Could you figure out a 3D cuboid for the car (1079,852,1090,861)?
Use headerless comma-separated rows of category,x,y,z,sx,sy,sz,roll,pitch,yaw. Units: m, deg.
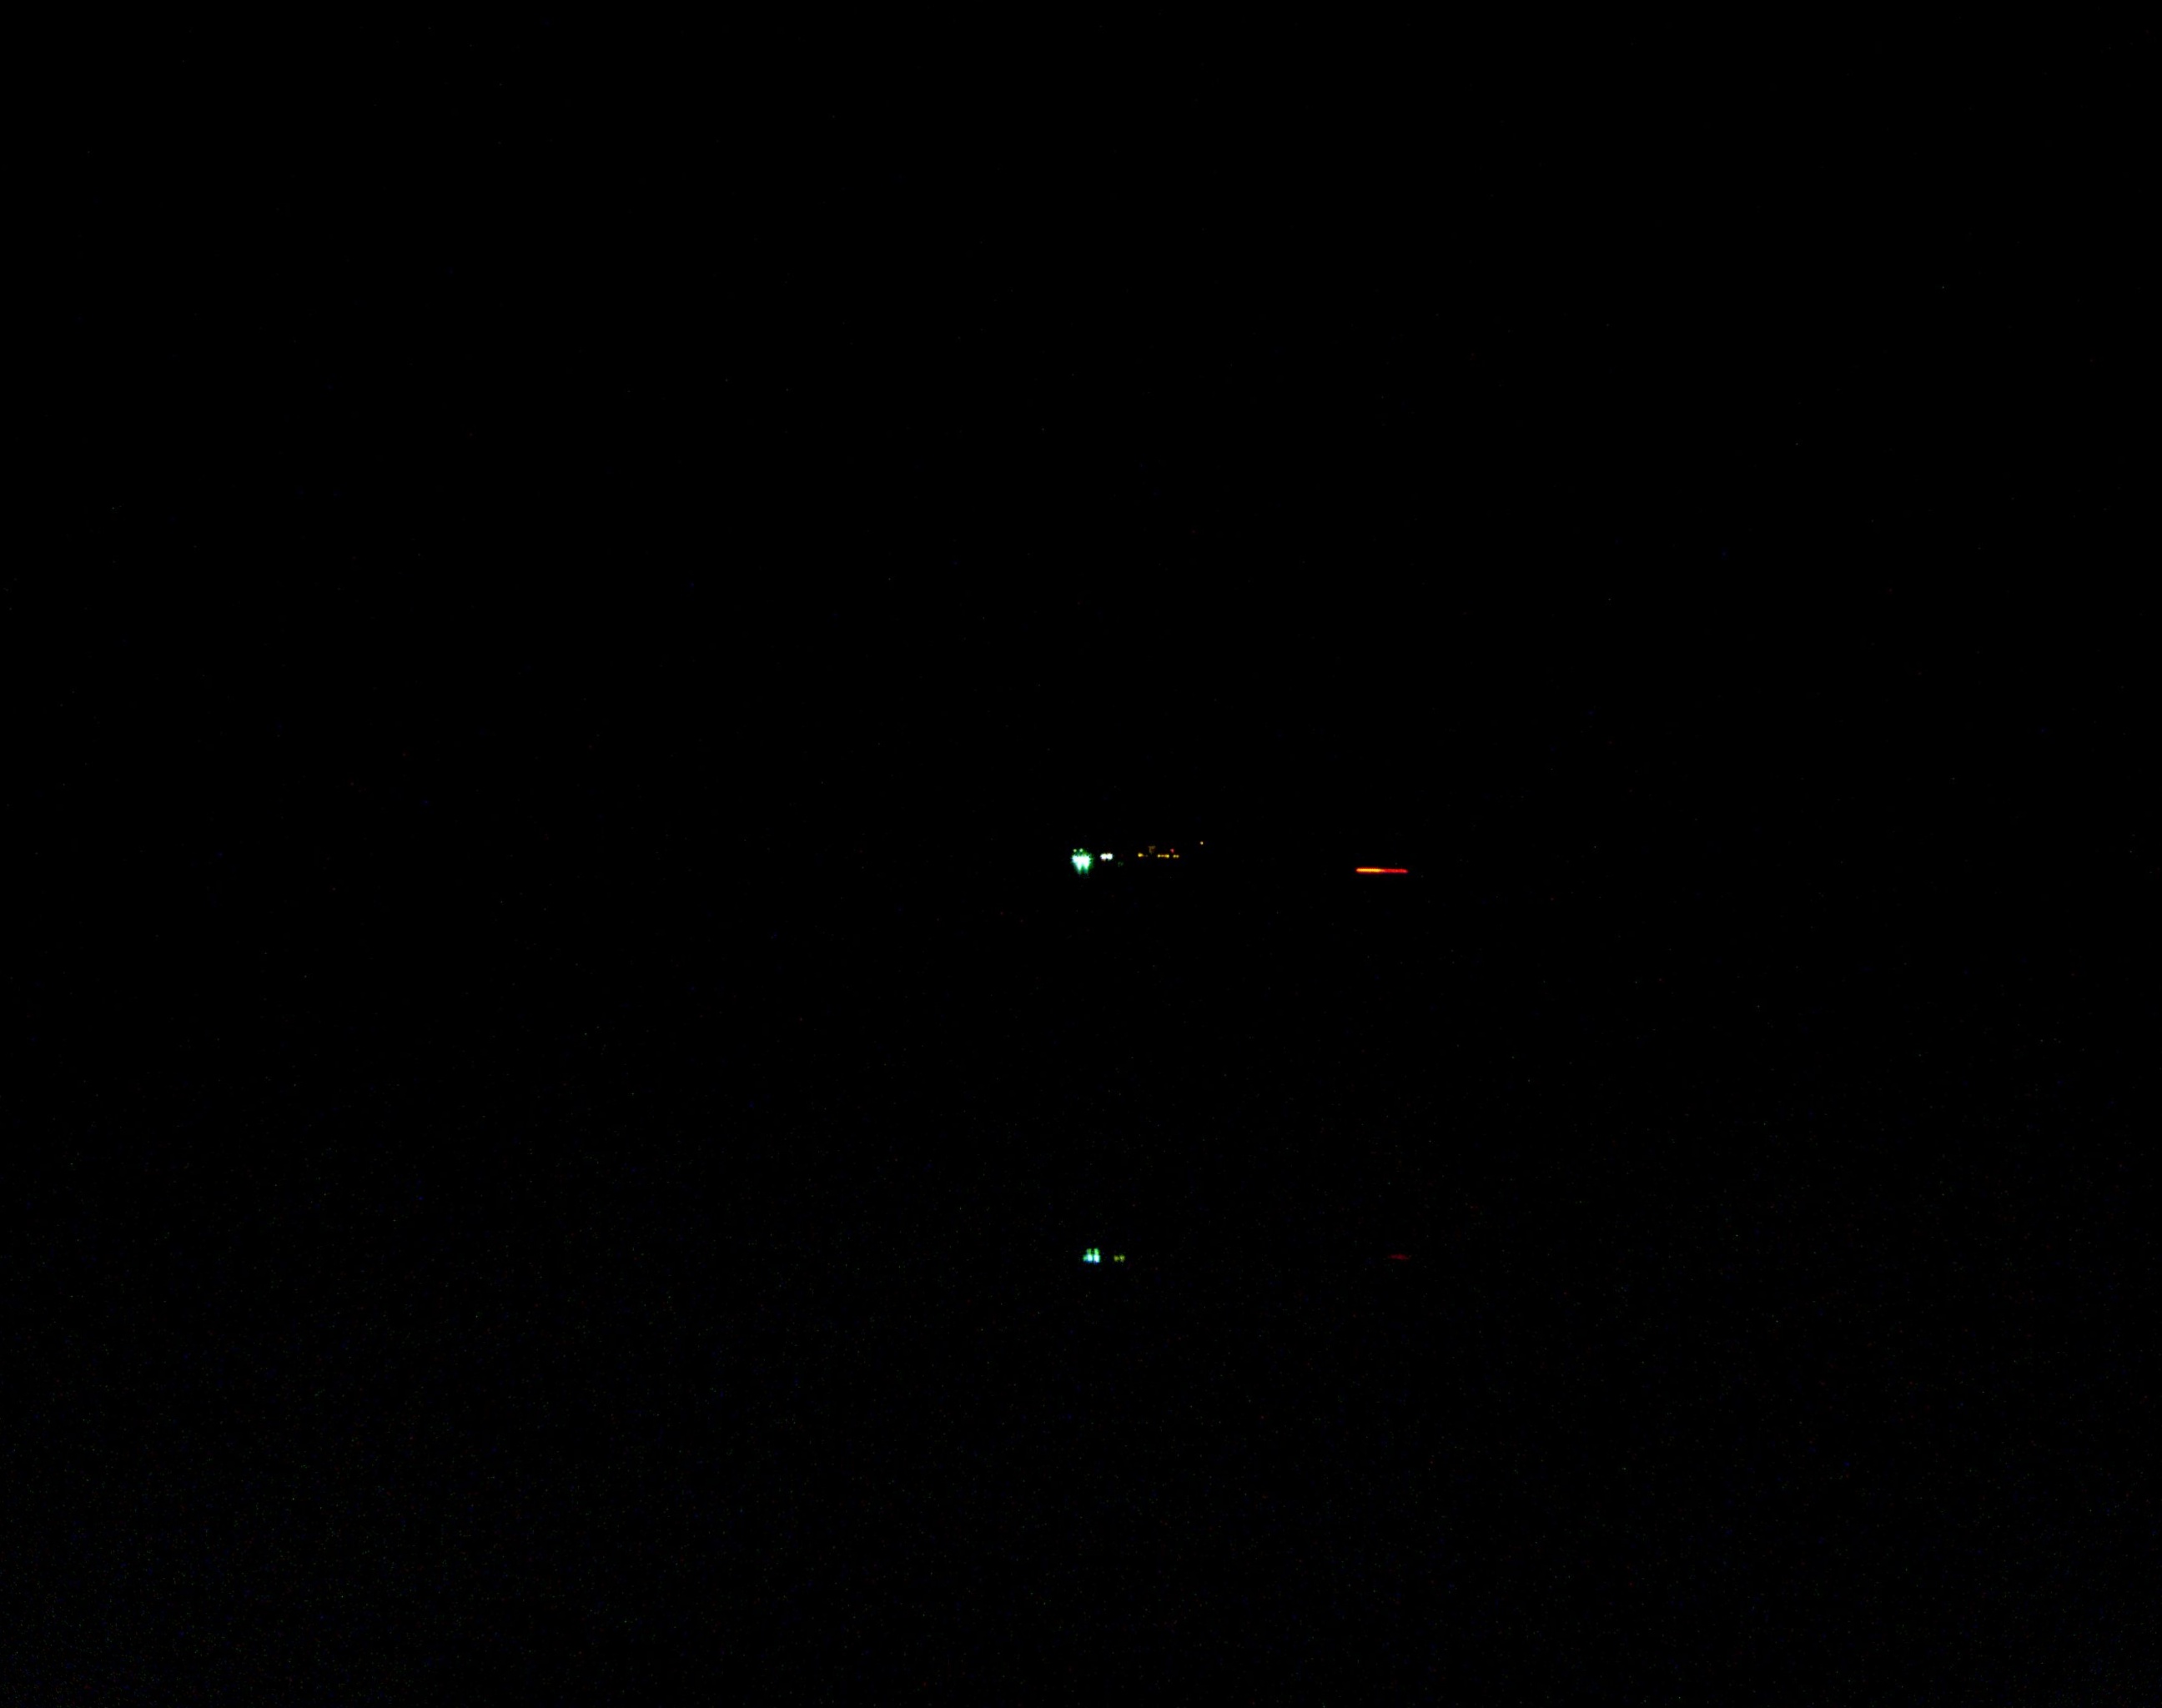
car,0.775,0.484,162.007,2.267,1.842,5.402,-3,1,0

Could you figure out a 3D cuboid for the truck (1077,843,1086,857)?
truck,0.137,-1.442,242.627,2.749,4.182,13.508,-3,1,0

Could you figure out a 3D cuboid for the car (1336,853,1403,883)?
car,15.598,0.707,41.311,1.825,1.458,4.559,2,1,0
